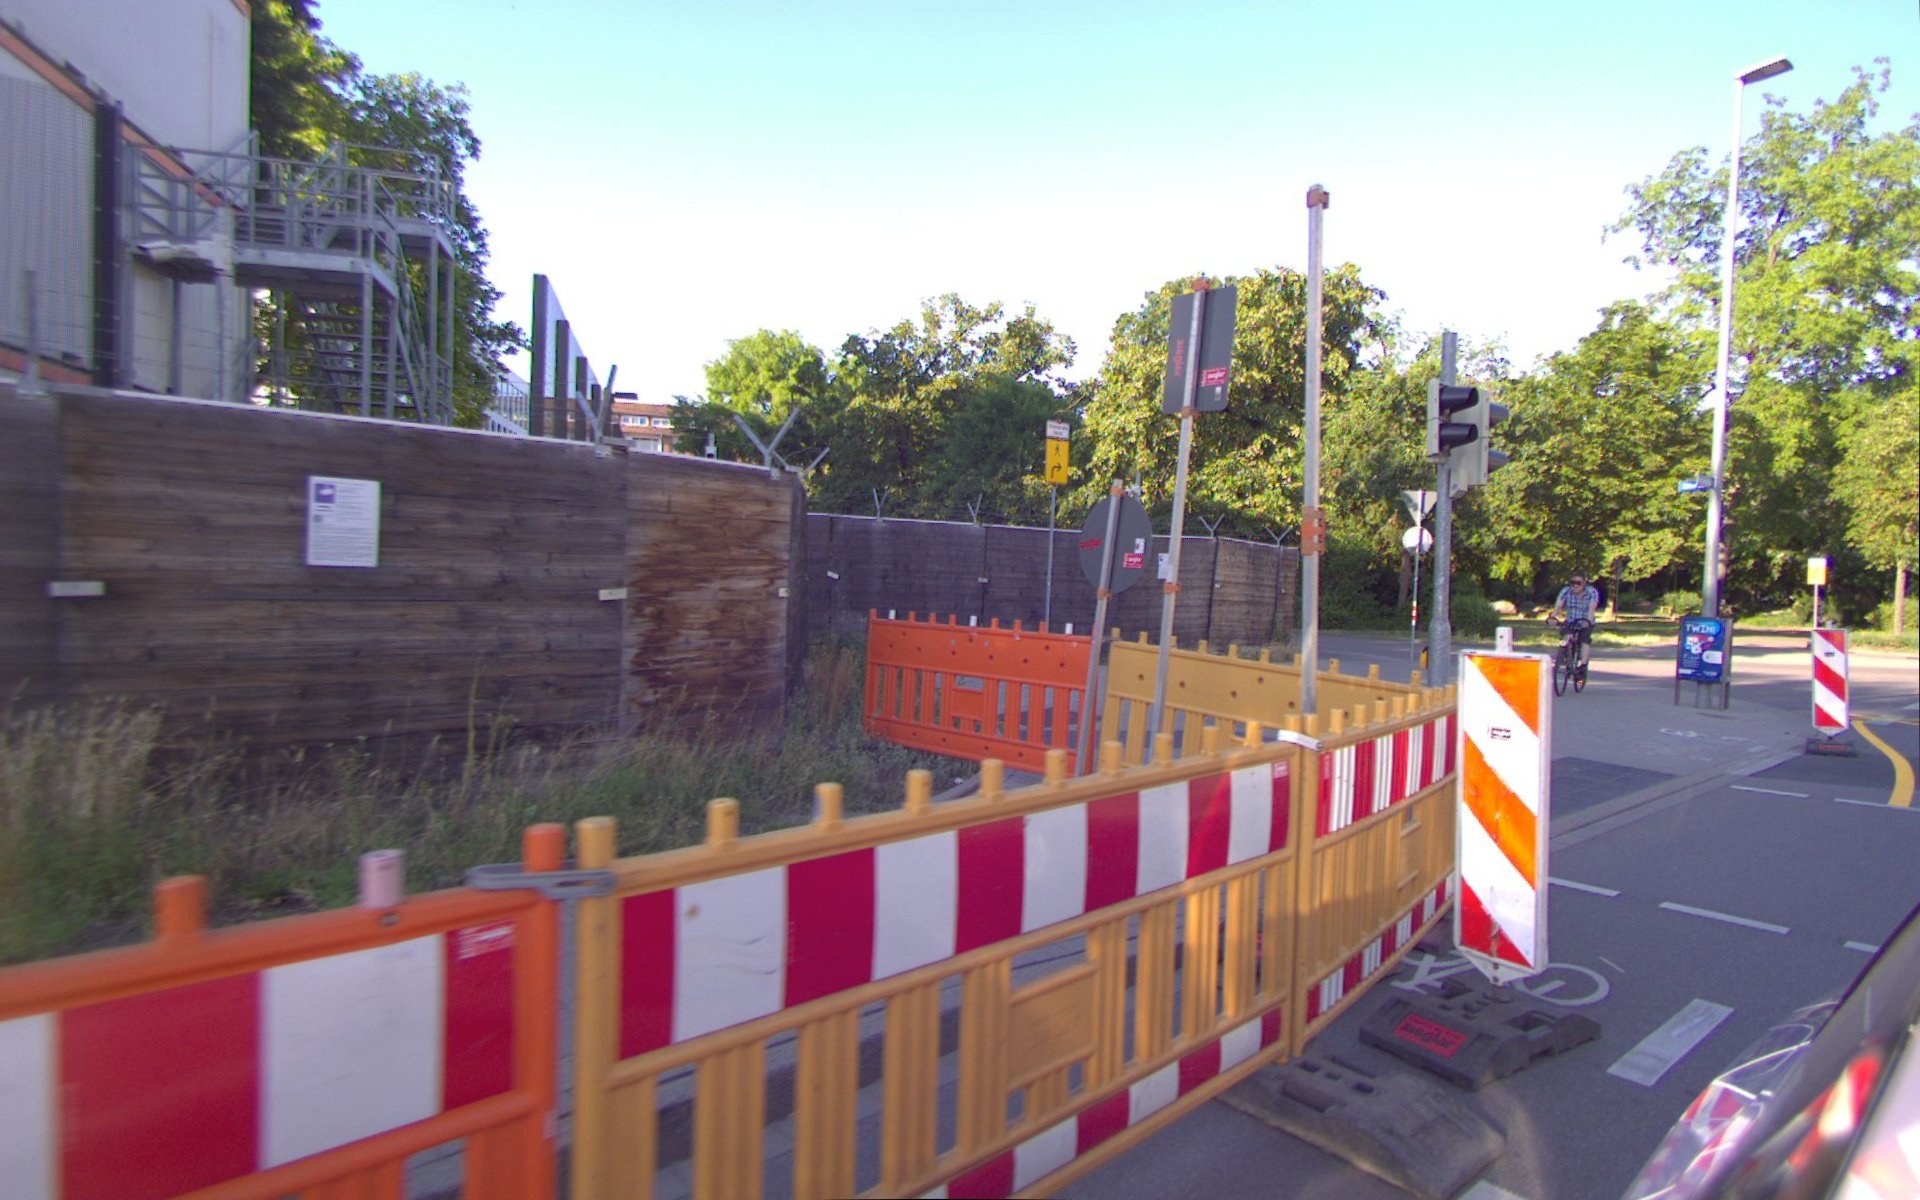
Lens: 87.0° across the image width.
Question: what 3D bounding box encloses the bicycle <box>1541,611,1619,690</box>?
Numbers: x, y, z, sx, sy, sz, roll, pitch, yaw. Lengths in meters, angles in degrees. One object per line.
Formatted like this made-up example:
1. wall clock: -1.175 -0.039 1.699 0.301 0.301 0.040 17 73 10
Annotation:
1. bicycle: 9.235 0.715 15.054 1.878 1.074 0.428 0 2 -41

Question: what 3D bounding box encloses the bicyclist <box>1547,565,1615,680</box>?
1. bicyclist: 9.150 0.313 14.909 0.888 1.634 0.585 0 1 -42
